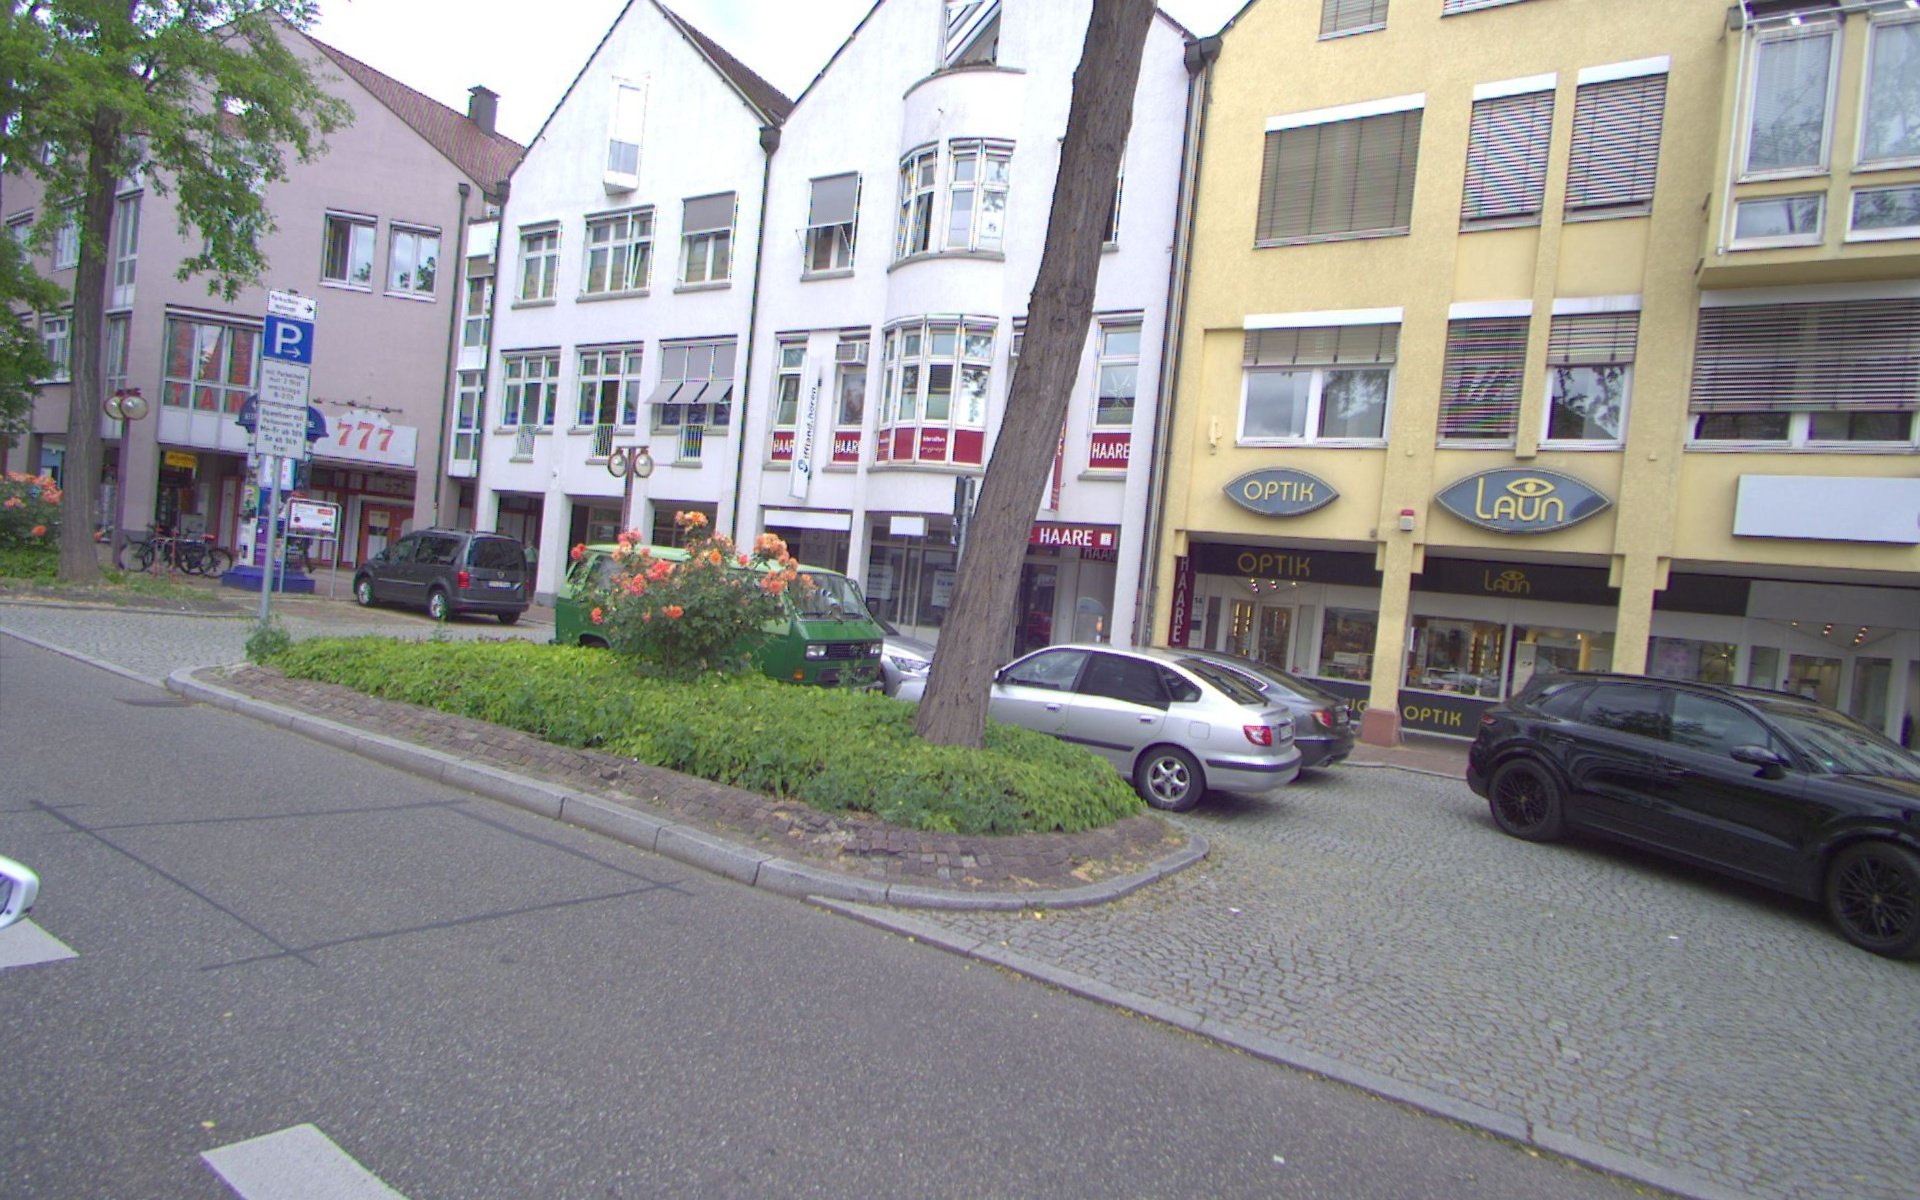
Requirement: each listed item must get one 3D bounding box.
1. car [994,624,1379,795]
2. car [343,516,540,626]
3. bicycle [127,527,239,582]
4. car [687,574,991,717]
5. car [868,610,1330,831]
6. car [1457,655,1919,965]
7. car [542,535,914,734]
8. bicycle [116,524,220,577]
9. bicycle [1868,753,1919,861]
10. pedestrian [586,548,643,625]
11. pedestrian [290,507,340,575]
[{"bbox_3d":[2.877,1.264,12.959,4.344,1.394,1.999,7,1,30],"label":"car"},{"bbox_3d":[-10.938,-0.622,21.187,3.898,1.855,1.639,7,1,28],"label":"car"},{"bbox_3d":[-17.762,-1.029,23.038,0.460,1.009,1.901,7,0,36],"label":"bicycle"},{"bbox_3d":[-1.913,0.624,15.478,4.320,1.562,1.797,7,2,30],"label":"car"},{"bbox_3d":[1.381,1.105,10.552,4.344,1.468,1.765,7,0,30],"label":"car"},{"bbox_3d":[6.827,1.607,8.474,1.832,1.692,4.641,6,1,-19],"label":"car"},{"bbox_3d":[-3.084,0.350,13.086,4.527,1.900,1.882,7,2,30],"label":"car"},{"bbox_3d":[-18.269,-1.127,23.242,0.440,1.009,1.769,7,0,36],"label":"bicycle"},{"bbox_3d":[10.542,2.262,10.552,1.356,1.058,0.392,7,2,32],"label":"bicycle"},{"bbox_3d":[-7.982,-0.309,23.241,0.805,1.682,0.789,7,3,31],"label":"pedestrian"},{"bbox_3d":[-18.637,-1.704,29.082,0.805,1.815,0.789,7,1,31],"label":"pedestrian"}]
